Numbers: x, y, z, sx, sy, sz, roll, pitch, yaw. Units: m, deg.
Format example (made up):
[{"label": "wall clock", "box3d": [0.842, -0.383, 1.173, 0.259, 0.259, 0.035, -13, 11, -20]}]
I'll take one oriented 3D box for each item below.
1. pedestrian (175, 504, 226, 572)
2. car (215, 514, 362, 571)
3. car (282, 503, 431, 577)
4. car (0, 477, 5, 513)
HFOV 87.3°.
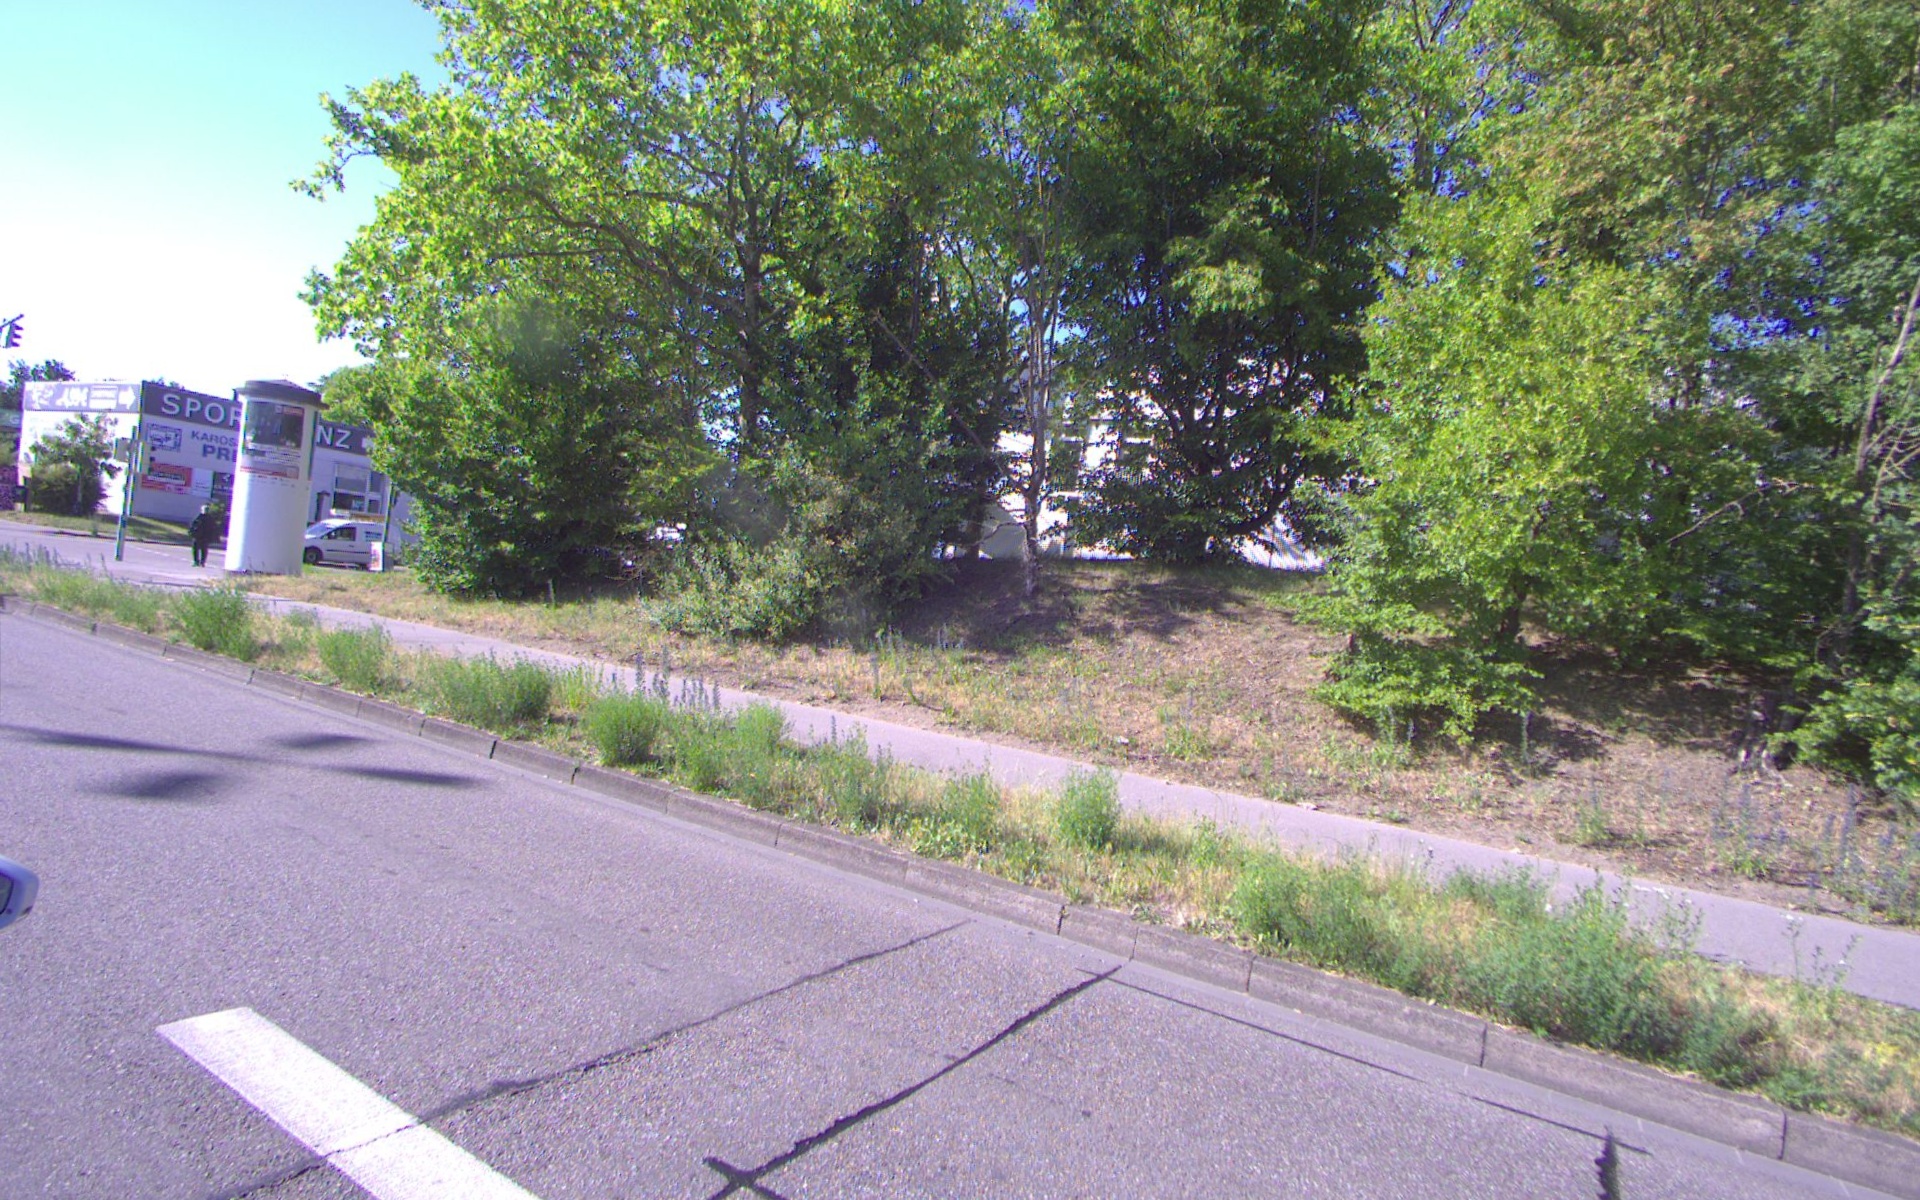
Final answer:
[{"label": "pedestrian", "box3d": [-21.226, -1.722, 28.116, 0.841, 1.743, 0.822, 7, 0, 39]}, {"label": "car", "box3d": [-26.823, -2.282, 40.337, 1.965, 1.571, 4.415, 7, -1, 28]}, {"label": "car", "box3d": [-23.380, -2.287, 39.165, 1.965, 2.171, 4.415, 7, -1, 28]}, {"label": "car", "box3d": [-48.281, -5.346, 47.675, 1.663, 1.726, 4.003, 7, -1, 16]}]
